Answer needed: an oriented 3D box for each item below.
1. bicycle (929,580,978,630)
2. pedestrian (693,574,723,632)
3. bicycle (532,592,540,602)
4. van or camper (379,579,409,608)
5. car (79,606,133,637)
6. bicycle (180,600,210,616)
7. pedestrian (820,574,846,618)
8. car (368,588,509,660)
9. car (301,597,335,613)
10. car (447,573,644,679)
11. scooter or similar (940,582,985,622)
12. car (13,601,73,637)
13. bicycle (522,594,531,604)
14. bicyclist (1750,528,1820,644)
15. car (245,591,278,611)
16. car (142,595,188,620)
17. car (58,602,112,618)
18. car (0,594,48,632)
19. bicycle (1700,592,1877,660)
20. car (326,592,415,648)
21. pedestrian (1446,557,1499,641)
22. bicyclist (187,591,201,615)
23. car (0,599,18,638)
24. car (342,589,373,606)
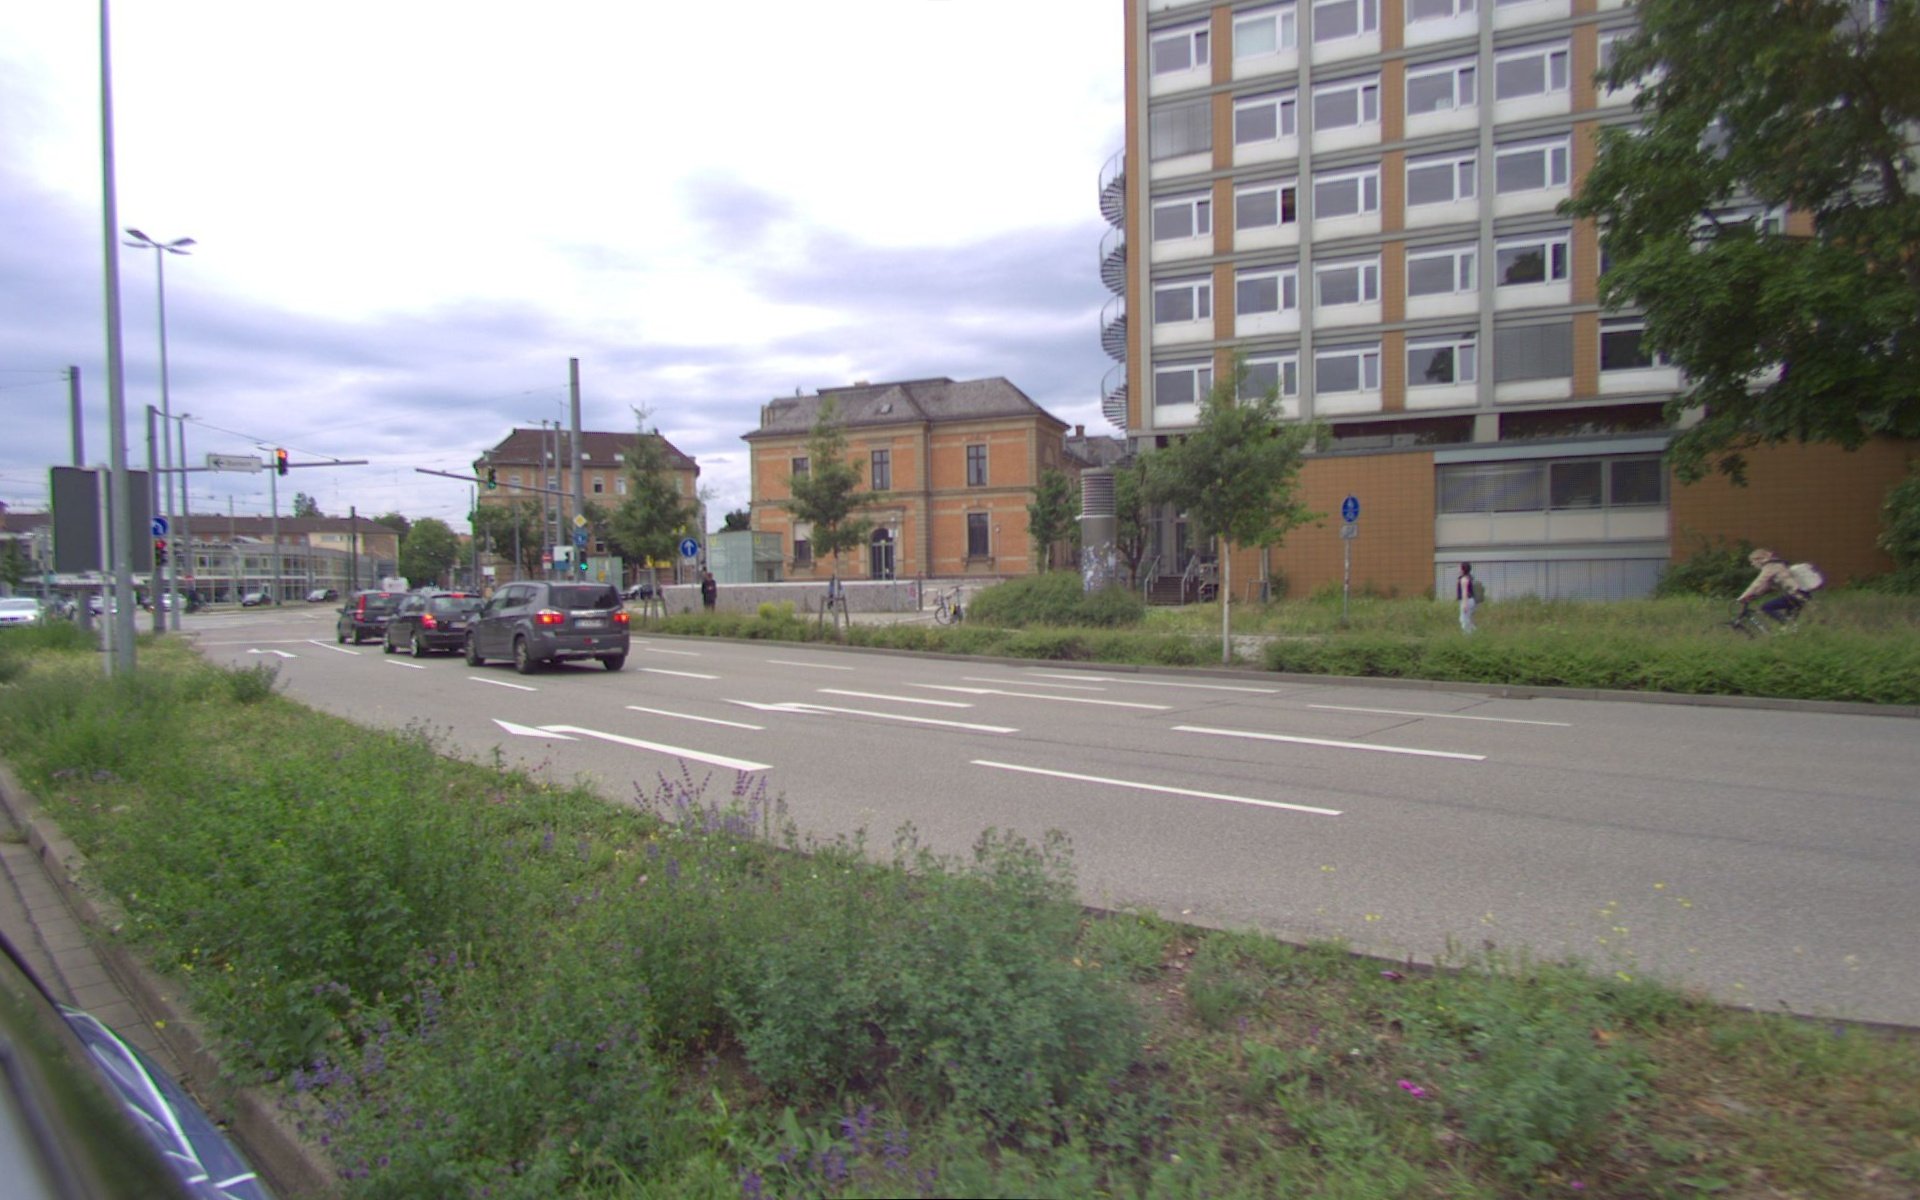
[{"bbox_3d":[-0.228,0.128,31.267,0.835,1.459,2.261,-1,1,-18],"label":"bicycle"},{"bbox_3d":[-8.776,0.109,35.221,0.808,1.995,0.660,-1,0,-37],"label":"pedestrian"},{"bbox_3d":[-45.478,-0.283,108.442,0.742,1.038,2.405,-2,1,-23],"label":"bicycle"},{"bbox_3d":[-51.686,-0.558,92.396,2.247,2.546,5.590,-1,0,-30],"label":"van or camper"},{"bbox_3d":[-61.450,1.523,72.879,1.965,2.029,4.013,-1,1,-26],"label":"car"},{"bbox_3d":[-53.744,0.583,71.088,0.525,1.078,1.599,-1,1,27],"label":"bicycle"},{"bbox_3d":[-5.132,-0.179,40.883,0.737,1.747,0.687,-1,0,-37],"label":"pedestrian"},{"bbox_3d":[-12.174,0.515,23.488,1.847,1.519,4.485,1,-1,-41],"label":"car"},{"bbox_3d":[-76.632,0.609,120.871,2.333,1.768,5.146,-1,1,-20],"label":"car"},{"bbox_3d":[-7.879,0.419,18.966,1.848,1.738,4.716,0,0,-43],"label":"car"},{"bbox_3d":[0.104,0.052,34.391,0.629,1.312,1.755,-1,1,35],"label":"scooter or similar"},{"bbox_3d":[-55.374,1.128,61.165,1.966,2.029,4.012,-2,1,-32],"label":"car"},{"bbox_3d":[-46.284,-0.158,108.129,0.823,1.038,2.405,-2,1,-23],"label":"bicycle"},{"bbox_3d":[11.666,-0.203,14.302,0.712,1.582,0.707,0,1,44],"label":"bicyclist"},{"bbox_3d":[-72.286,0.092,104.738,1.965,2.029,4.013,-2,1,-23],"label":"car"},{"bbox_3d":[-66.377,0.595,84.596,1.965,2.029,4.013,-2,1,-23],"label":"car"},{"bbox_3d":[-89.015,0.969,103.006,3.842,1.452,1.738,-2,1,-33],"label":"car"},{"bbox_3d":[-39.362,0.539,41.987,1.942,1.466,4.201,-2,1,-38],"label":"car"},{"bbox_3d":[11.678,0.345,14.309,1.884,0.889,0.707,0,2,44],"label":"bicycle"},{"bbox_3d":[-17.060,0.538,29.214,1.598,1.527,3.670,-1,0,-41],"label":"car"},{"bbox_3d":[9.662,-0.024,19.069,0.755,1.553,0.555,0,1,44],"label":"pedestrian"},{"bbox_3d":[-53.757,0.219,71.028,0.515,1.651,0.649,-1,1,28],"label":"bicyclist"},{"bbox_3d":[-51.616,0.987,53.146,1.965,2.029,4.013,-1,1,-26],"label":"car"},{"bbox_3d":[-83.396,-0.365,140.150,2.334,2.149,5.144,-1,1,-14],"label":"car"}]
